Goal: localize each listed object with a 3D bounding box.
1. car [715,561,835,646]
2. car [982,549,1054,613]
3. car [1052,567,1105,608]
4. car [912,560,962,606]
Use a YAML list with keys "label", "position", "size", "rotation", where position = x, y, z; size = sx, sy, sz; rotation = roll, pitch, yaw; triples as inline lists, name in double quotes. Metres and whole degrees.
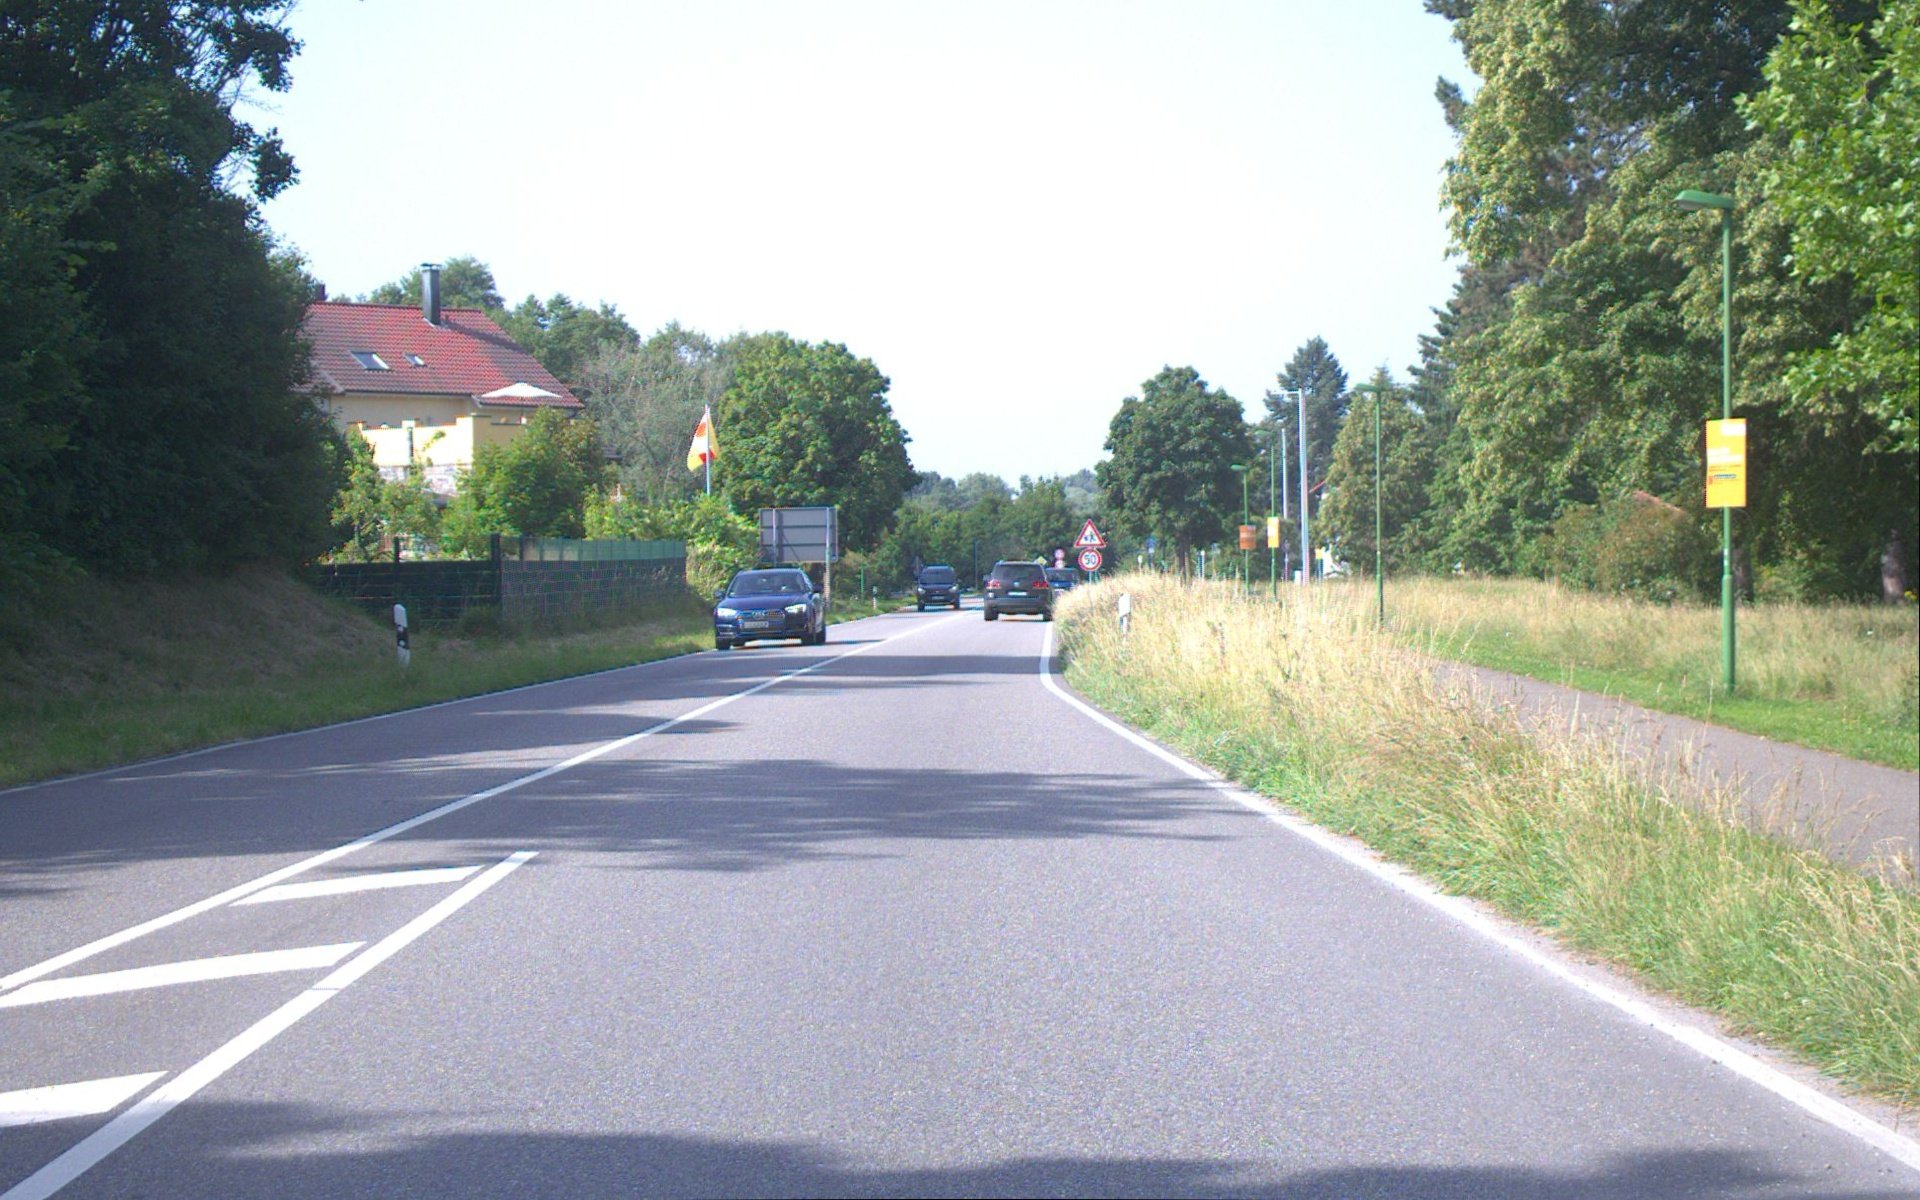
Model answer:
- label: "car"
  position: [-3.391, 0.036, 63.892]
  size: [1.870, 1.418, 4.577]
  rotation: [-3, 1, 1]
- label: "car"
  position: [1.637, -0.558, 97.686]
  size: [1.925, 1.765, 4.000]
  rotation: [-1, 1, -1]
- label: "car"
  position: [4.480, -0.500, 130.593]
  size: [1.735, 1.511, 3.915]
  rotation: [-1, 1, -2]
- label: "car"
  position: [-0.945, -0.716, 143.778]
  size: [1.939, 1.811, 4.242]
  rotation: [-2, 0, 1]
